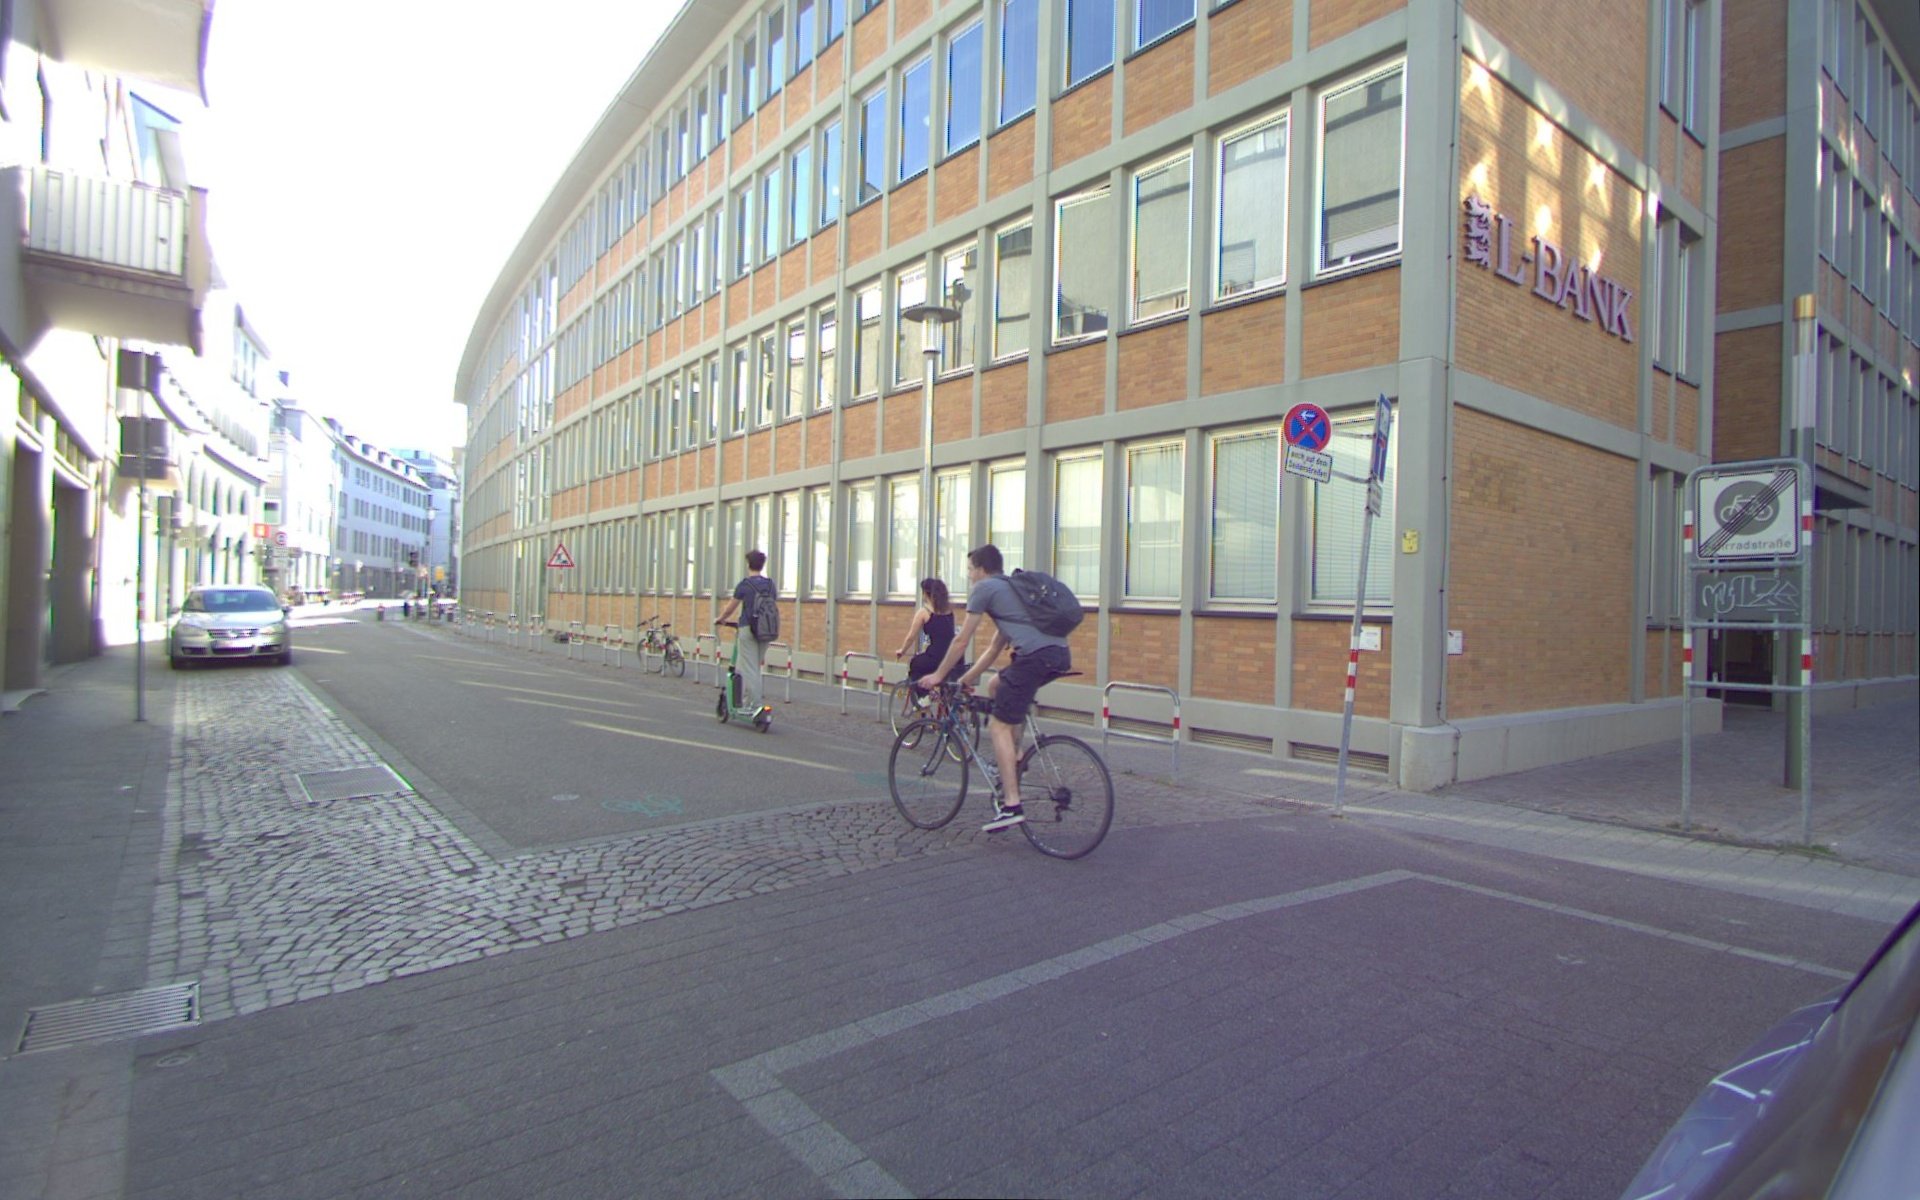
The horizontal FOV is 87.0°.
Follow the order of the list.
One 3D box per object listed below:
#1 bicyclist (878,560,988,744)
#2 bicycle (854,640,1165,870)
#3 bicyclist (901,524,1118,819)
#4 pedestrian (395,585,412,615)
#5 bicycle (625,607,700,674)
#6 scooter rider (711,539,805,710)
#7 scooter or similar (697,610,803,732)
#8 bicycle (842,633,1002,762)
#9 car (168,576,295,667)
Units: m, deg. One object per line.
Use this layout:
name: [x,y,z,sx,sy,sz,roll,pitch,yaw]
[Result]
bicyclist: [-0.271,0.487,9.800,0.608,1.688,0.823,5,-2,-38]
bicycle: [0.239,0.829,6.001,1.828,1.064,0.565,3,-1,40]
bicyclist: [0.284,0.375,6.016,1.104,1.578,0.641,1,0,39]
pedestrian: [-27.371,0.017,49.746,0.647,1.459,0.595,1,0,-35]
bicycle: [-5.467,0.715,18.515,0.626,1.130,1.929,1,0,-38]
scooter rider: [-2.169,0.243,10.872,0.699,1.748,0.640,3,1,39]
scooter or similar: [-2.298,0.749,11.006,1.273,1.201,0.332,3,-1,40]
bicycle: [-0.409,0.907,9.917,0.580,1.065,1.799,4,-2,-38]
car: [-13.478,0.312,18.729,1.738,1.488,3.812,-1,2,-37]
